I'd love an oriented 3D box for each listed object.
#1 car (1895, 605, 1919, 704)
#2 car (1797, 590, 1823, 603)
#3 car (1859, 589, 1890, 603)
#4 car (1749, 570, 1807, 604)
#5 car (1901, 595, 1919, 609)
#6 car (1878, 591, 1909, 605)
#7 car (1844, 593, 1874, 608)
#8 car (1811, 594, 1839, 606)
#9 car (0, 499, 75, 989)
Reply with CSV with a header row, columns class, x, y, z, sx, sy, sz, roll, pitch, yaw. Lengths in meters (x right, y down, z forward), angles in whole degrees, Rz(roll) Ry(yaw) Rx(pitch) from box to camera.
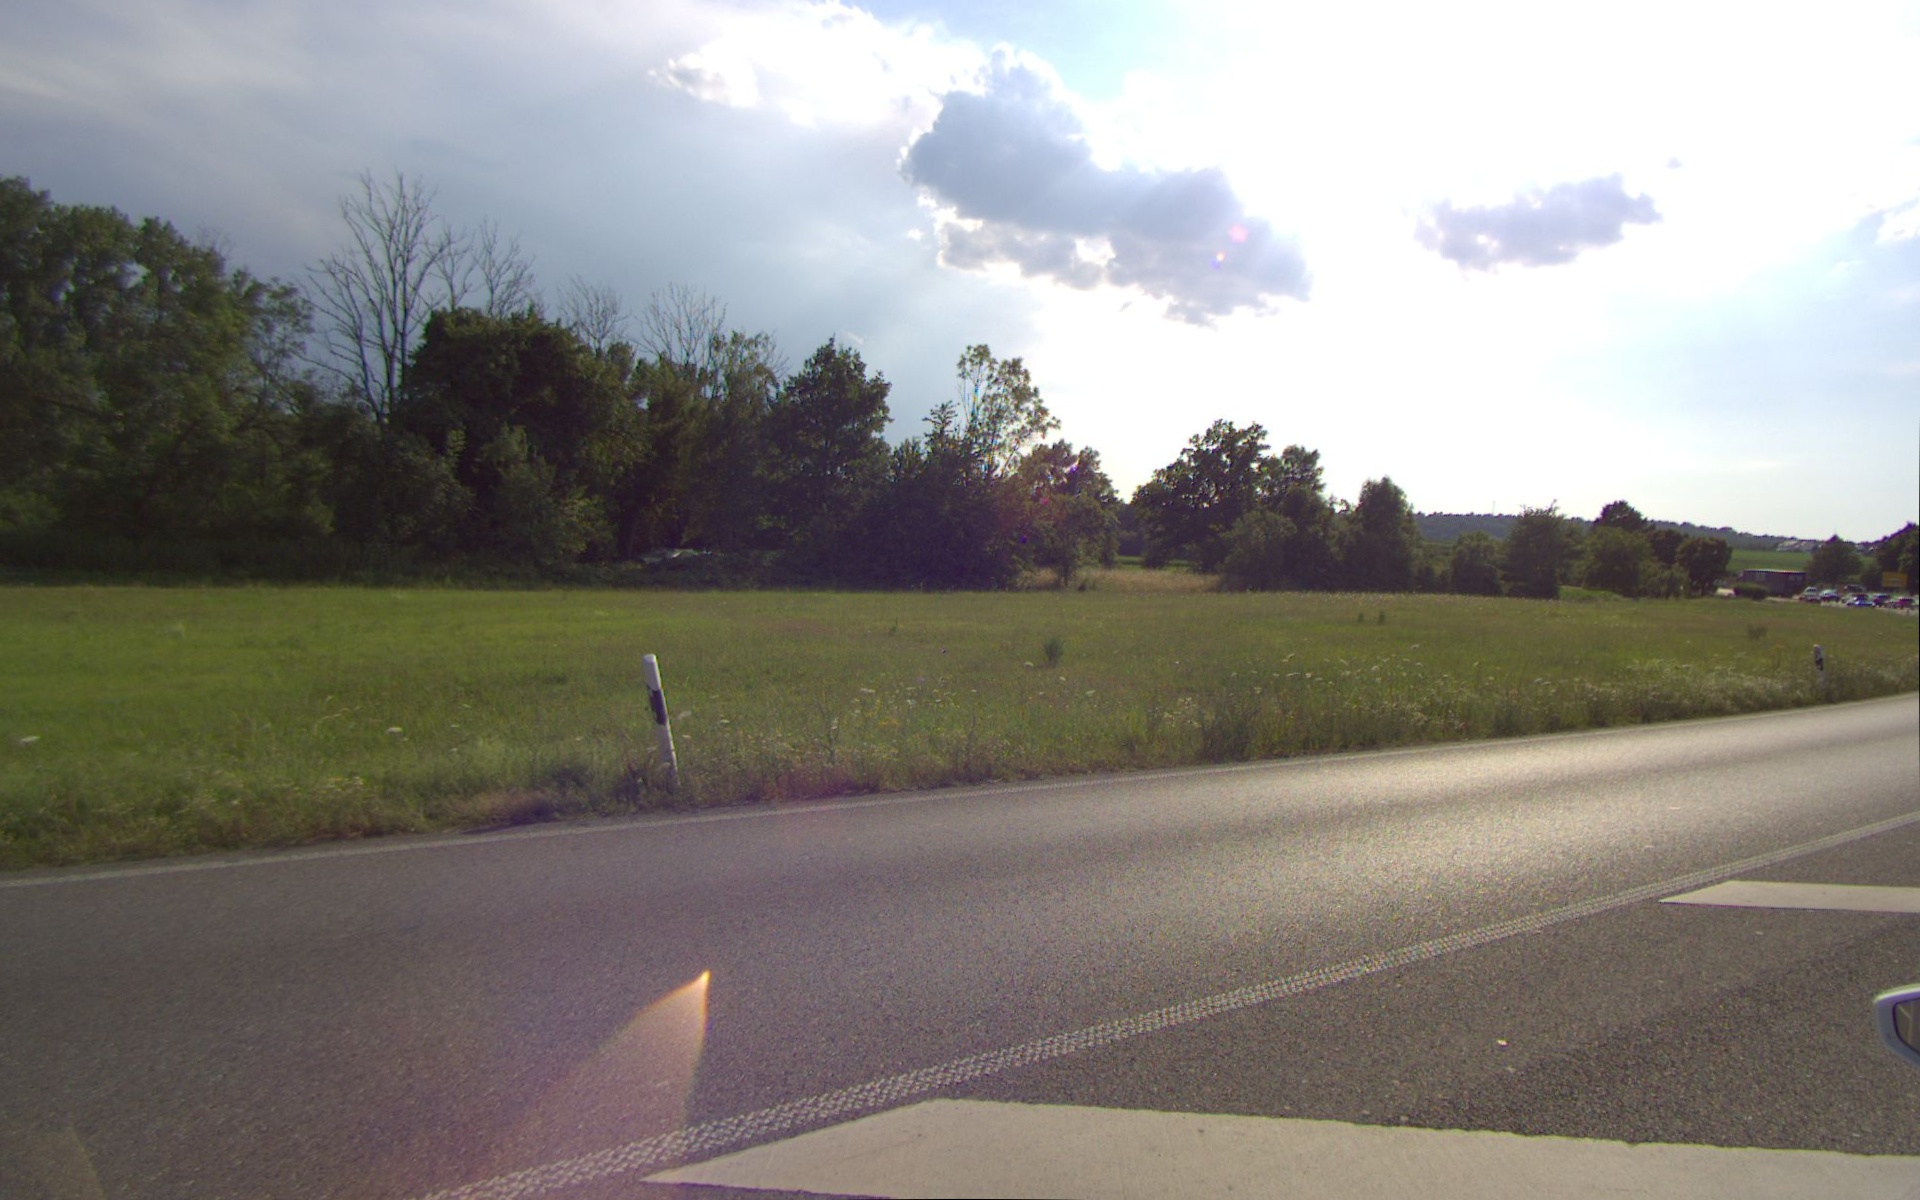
class,x,y,z,sx,sy,sz,roll,pitch,yaw
car,19.297,1.015,18.597,4.381,1.748,1.980,0,2,-35
car,113.425,-0.508,134.059,1.854,1.621,3.992,3,2,30
car,118.021,-0.508,129.649,1.852,1.621,3.996,3,2,25
car,130.977,-2.047,161.047,3.484,5.127,13.234,3,2,23
car,112.512,0.219,117.869,2.054,1.621,3.993,3,2,29
car,115.582,-0.217,124.395,1.853,1.621,3.993,3,2,28
car,104.393,0.045,116.629,1.855,1.621,3.989,3,2,32
car,124.234,-0.070,144.293,1.852,1.621,3.996,3,2,25
car,-4.882,0.444,2.241,4.106,1.573,1.685,1,0,-32
